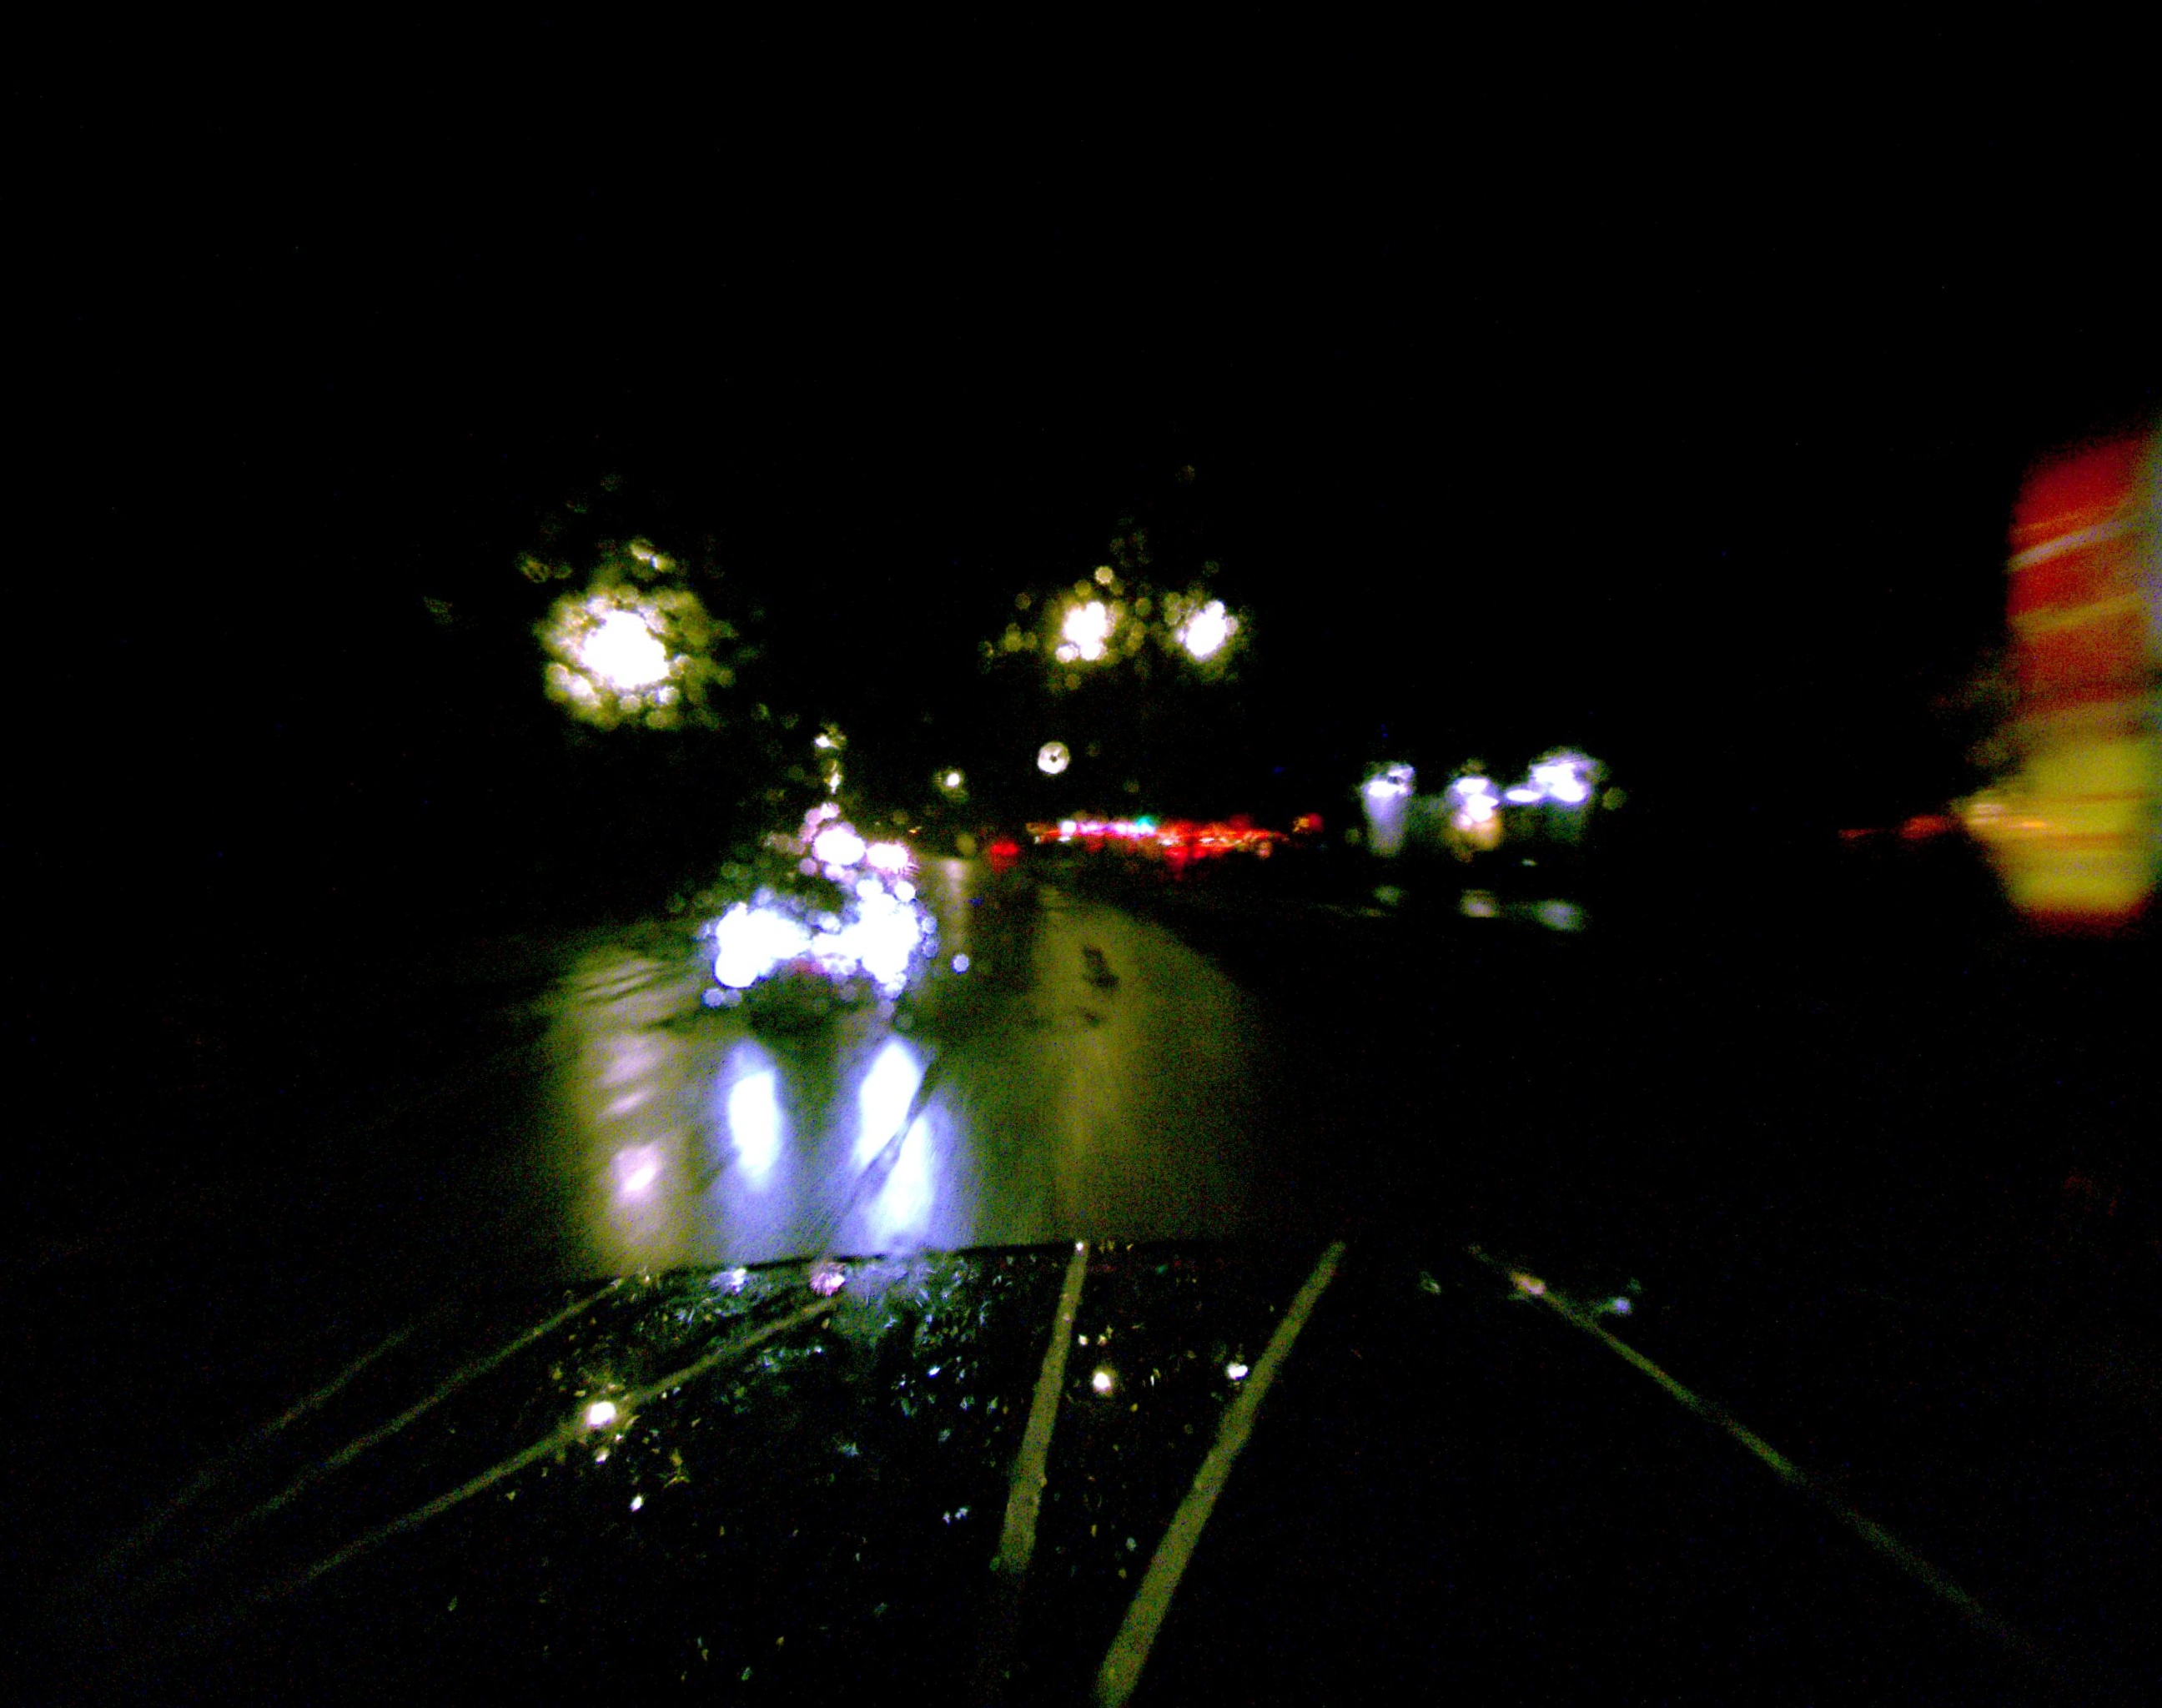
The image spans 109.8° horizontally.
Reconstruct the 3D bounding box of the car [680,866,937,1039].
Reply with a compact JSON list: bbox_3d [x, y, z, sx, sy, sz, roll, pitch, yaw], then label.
[{"bbox_3d":[-2.950,0.958,9.219,1.999,1.515,3.997,-1,1,-6],"label":"car"}]

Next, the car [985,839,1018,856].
[{"bbox_3d":[-7.496,-0.659,71.661,1.874,1.455,4.629,1,1,-22],"label":"car"}]

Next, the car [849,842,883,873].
[{"bbox_3d":[-14.194,0.173,50.007,1.939,1.862,3.992,-2,3,-19],"label":"car"}]

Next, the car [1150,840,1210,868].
[{"bbox_3d":[5.864,-0.023,45.403,2.002,1.585,3.993,0,1,-18],"label":"car"}]

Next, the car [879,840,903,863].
[{"bbox_3d":[-17.686,-0.238,70.834,2.001,1.923,3.994,3,0,-14],"label":"car"}]

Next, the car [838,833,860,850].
[{"bbox_3d":[-28.817,-1.510,94.205,2.003,1.923,3.991,3,0,-26],"label":"car"}]

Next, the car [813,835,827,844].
[{"bbox_3d":[-49.345,-2.784,143.807,1.773,1.449,3.942,-3,4,-29],"label":"car"}]
